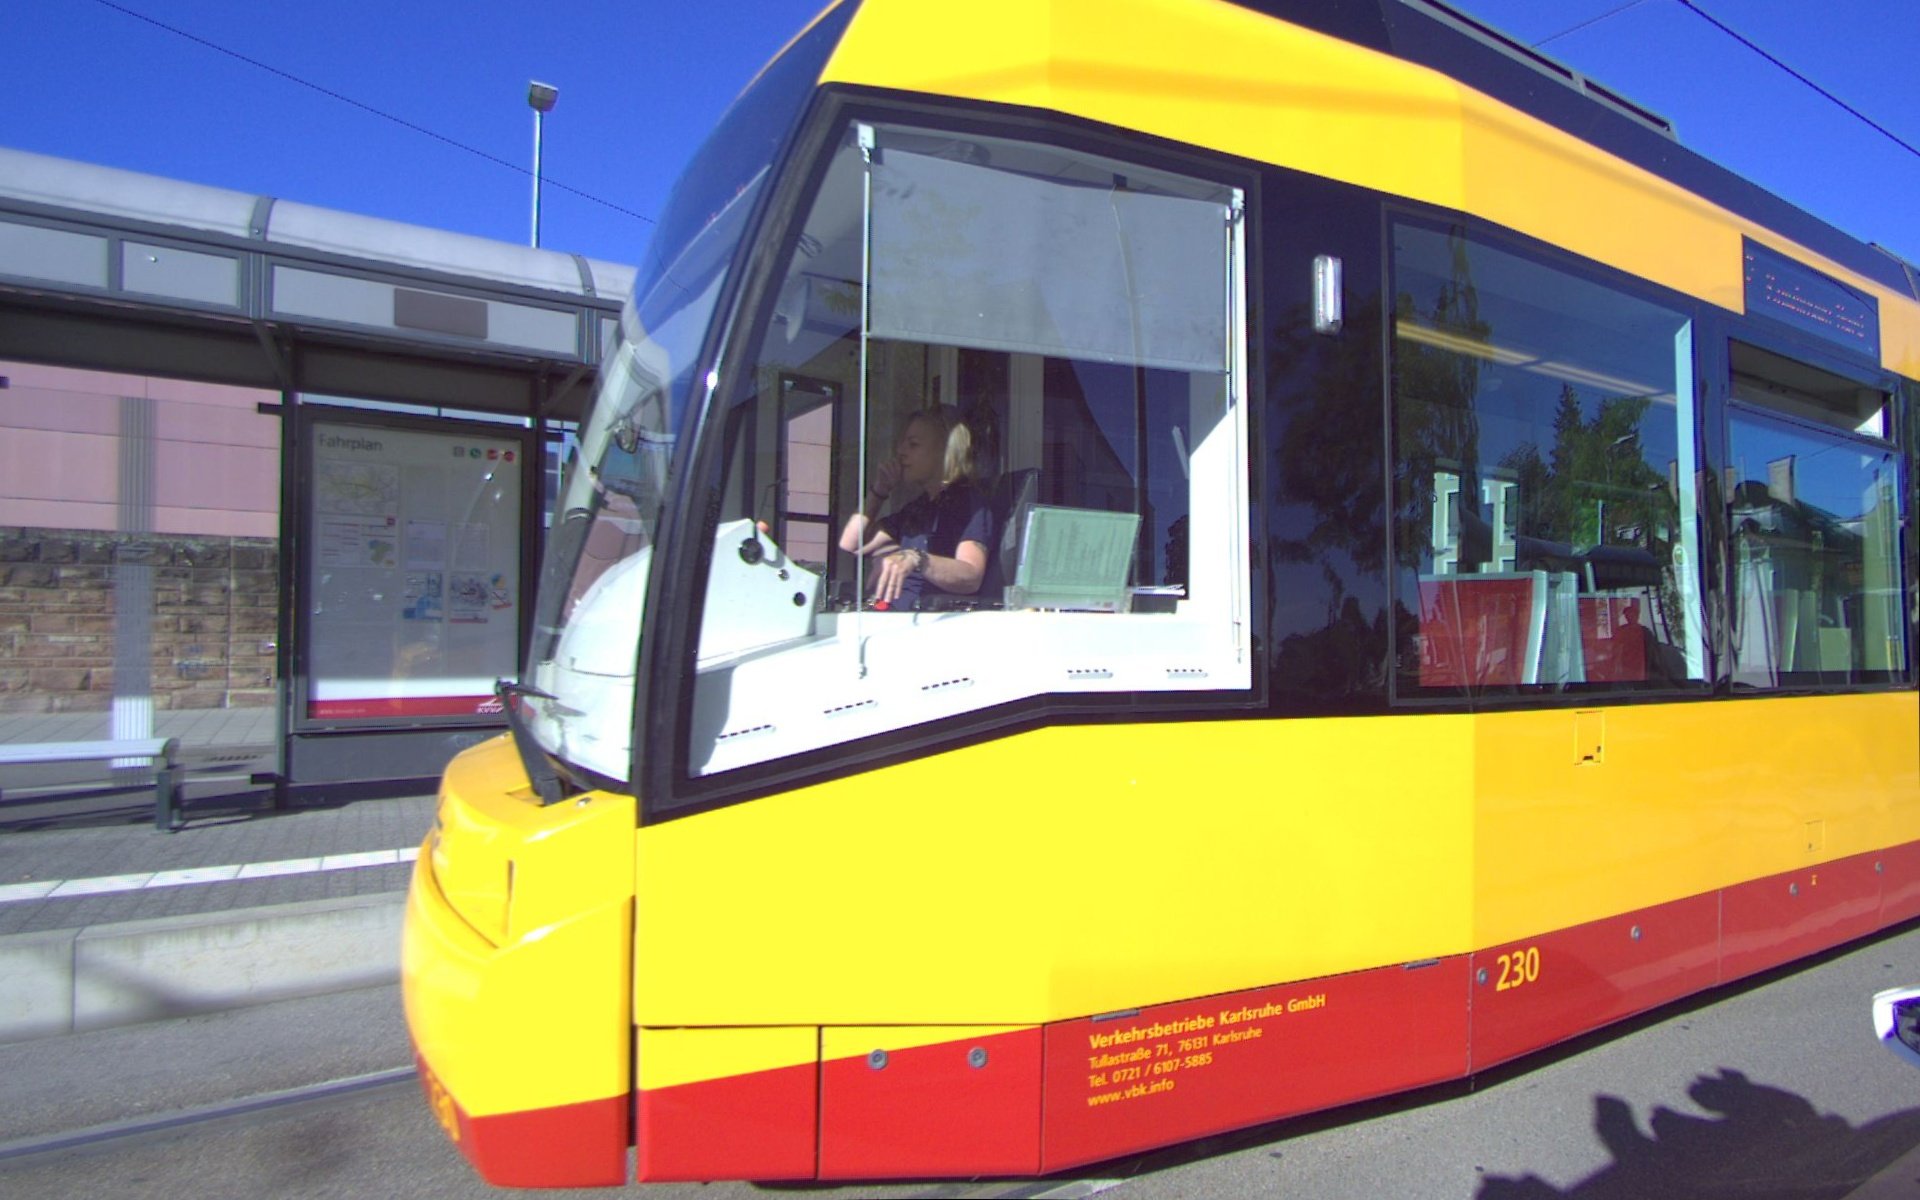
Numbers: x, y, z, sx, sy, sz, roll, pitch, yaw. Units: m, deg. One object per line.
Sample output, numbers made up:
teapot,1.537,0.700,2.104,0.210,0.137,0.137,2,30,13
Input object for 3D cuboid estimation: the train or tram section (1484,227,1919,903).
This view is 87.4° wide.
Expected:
train or tram section,7.338,-0.130,7.726,6.590,3.506,2.790,1,0,-31

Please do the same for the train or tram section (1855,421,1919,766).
train or tram section,13.026,-0.001,11.109,6.590,3.506,2.790,1,0,-31

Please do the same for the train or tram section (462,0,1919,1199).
train or tram section,1.634,-0.259,4.333,6.590,3.506,2.790,1,0,-31
